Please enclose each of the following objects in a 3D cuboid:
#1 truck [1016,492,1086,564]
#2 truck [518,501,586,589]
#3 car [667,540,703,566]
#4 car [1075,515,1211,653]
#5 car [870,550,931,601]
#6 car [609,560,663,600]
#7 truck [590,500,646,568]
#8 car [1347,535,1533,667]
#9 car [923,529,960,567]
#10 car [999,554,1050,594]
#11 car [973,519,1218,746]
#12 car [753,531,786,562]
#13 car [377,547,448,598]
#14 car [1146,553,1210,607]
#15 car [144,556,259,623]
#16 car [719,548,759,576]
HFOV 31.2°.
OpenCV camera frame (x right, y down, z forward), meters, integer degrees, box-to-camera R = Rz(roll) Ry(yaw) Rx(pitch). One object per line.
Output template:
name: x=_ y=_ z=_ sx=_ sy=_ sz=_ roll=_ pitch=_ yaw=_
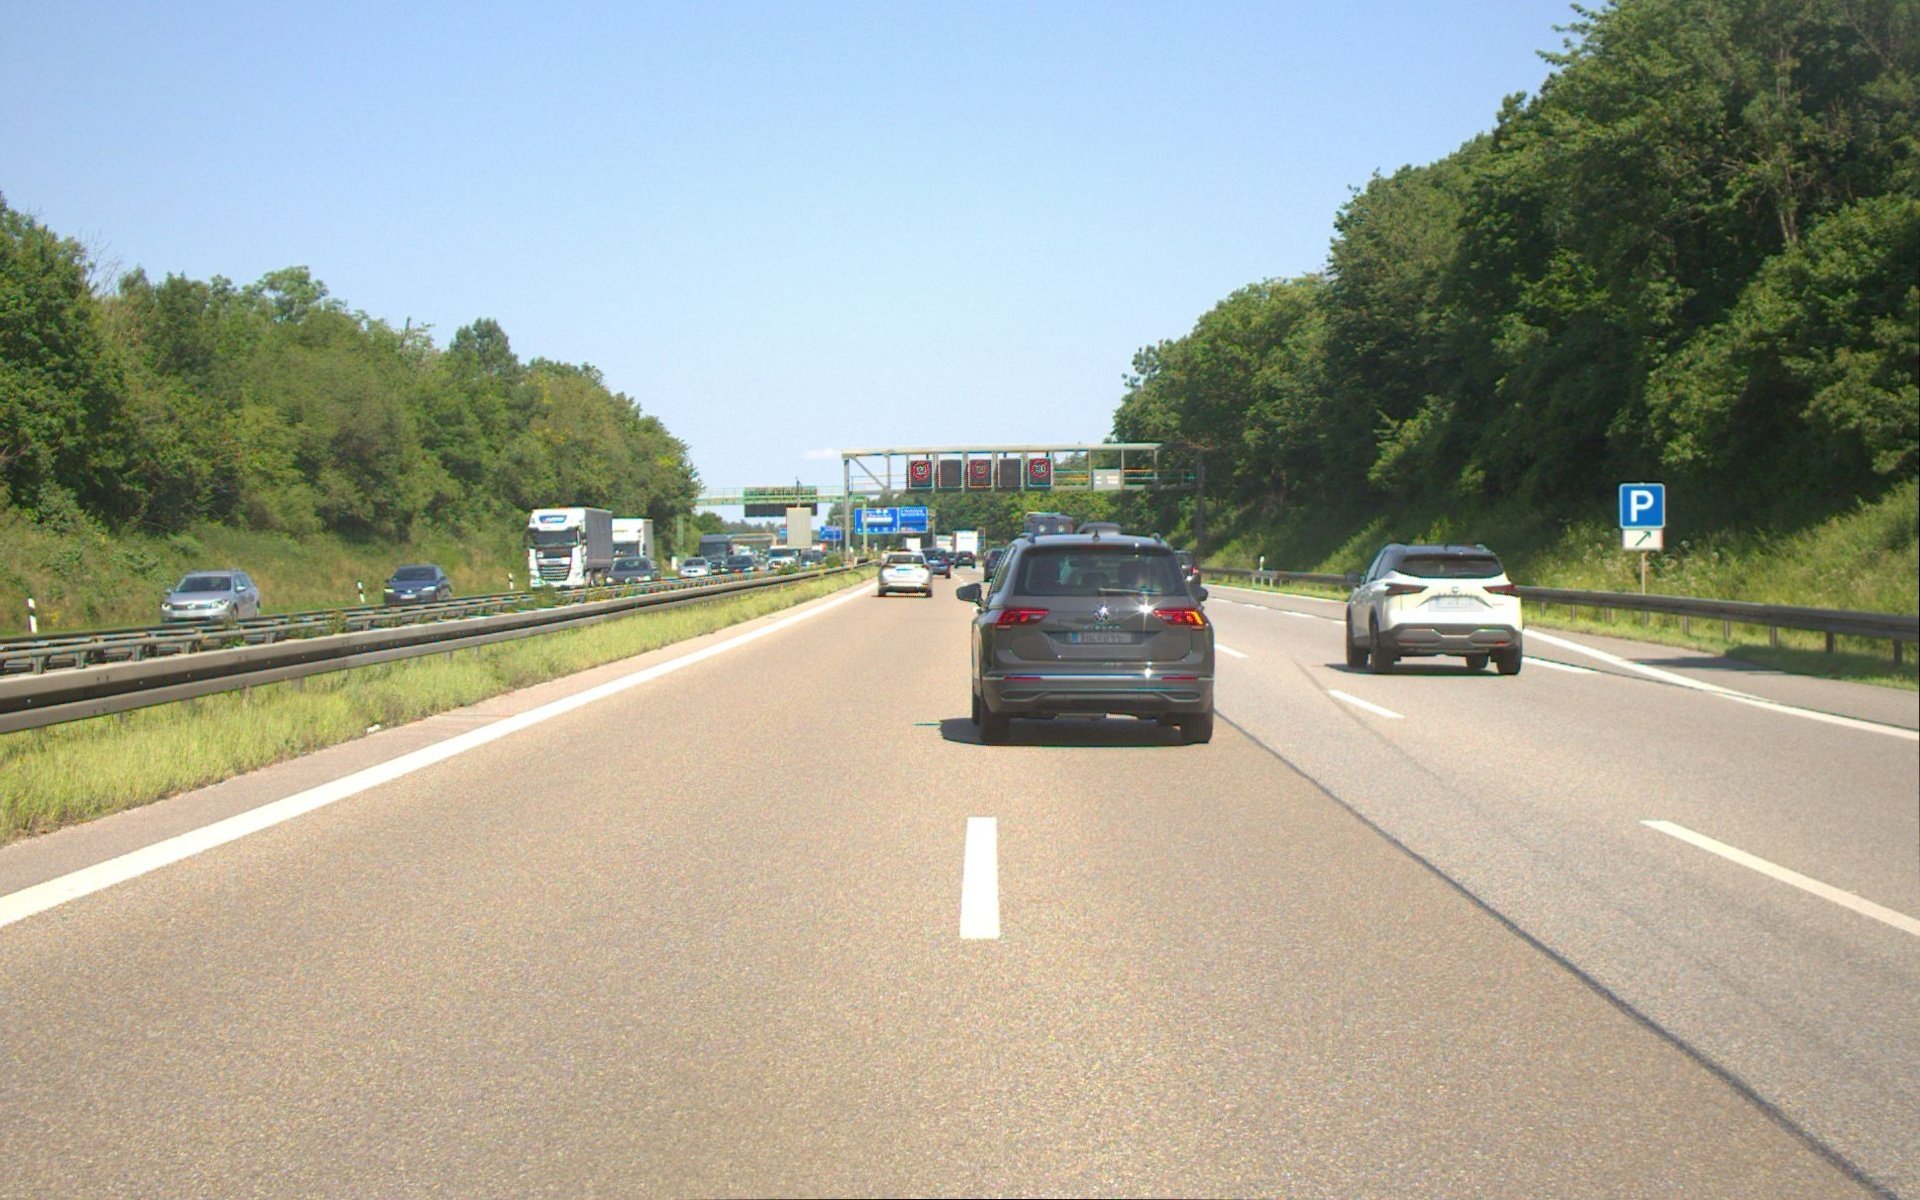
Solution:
truck: x=5.744 y=-4.552 z=219.604 sx=3.780 sy=4.407 sz=14.052 roll=0 pitch=1 yaw=-1
truck: x=-19.549 y=-2.617 z=164.769 sx=2.614 sy=4.044 sz=4.000 roll=-3 pitch=1 yaw=0
car: x=-15.843 y=-2.724 z=198.105 sx=1.713 sy=1.413 sz=4.504 roll=-1 pitch=1 yaw=0
car: x=2.611 y=-0.269 z=49.945 sx=1.665 sy=1.870 sz=4.827 roll=-1 pitch=1 yaw=0
car: x=-1.904 y=-0.807 z=110.703 sx=1.765 sy=1.563 sz=4.258 roll=1 pitch=1 yaw=1
car: x=-11.543 y=-0.726 z=122.662 sx=1.485 sy=1.351 sz=4.418 roll=-1 pitch=1 yaw=0
truck: x=-19.730 y=-3.803 z=198.440 sx=2.703 sy=3.796 sz=4.000 roll=-2 pitch=1 yaw=0
car: x=6.020 y=-0.027 z=43.543 sx=1.843 sy=1.563 sz=4.035 roll=1 pitch=1 yaw=1
car: x=-1.029 y=-2.847 z=187.391 sx=1.993 sy=2.007 sz=4.000 roll=1 pitch=1 yaw=-1
car: x=2.323 y=-0.954 z=123.296 sx=1.765 sy=1.377 sz=4.258 roll=1 pitch=1 yaw=1
car: x=1.054 y=0.204 z=27.745 sx=1.799 sy=1.663 sz=4.258 roll=1 pitch=1 yaw=1
car: x=-12.964 y=-3.677 z=234.191 sx=1.928 sy=1.974 sz=5.235 roll=-3 pitch=1 yaw=0
car: x=-18.000 y=-0.913 z=113.184 sx=1.595 sy=1.562 sz=4.369 roll=-3 pitch=1 yaw=-1
car: x=6.614 y=-0.637 z=104.635 sx=1.765 sy=1.563 sz=4.258 roll=1 pitch=1 yaw=1
car: x=-18.685 y=-0.289 z=84.885 sx=1.628 sy=1.487 sz=4.941 roll=-3 pitch=1 yaw=1
car: x=-11.621 y=-2.022 z=181.178 sx=1.807 sy=1.401 sz=4.819 roll=-1 pitch=1 yaw=0
